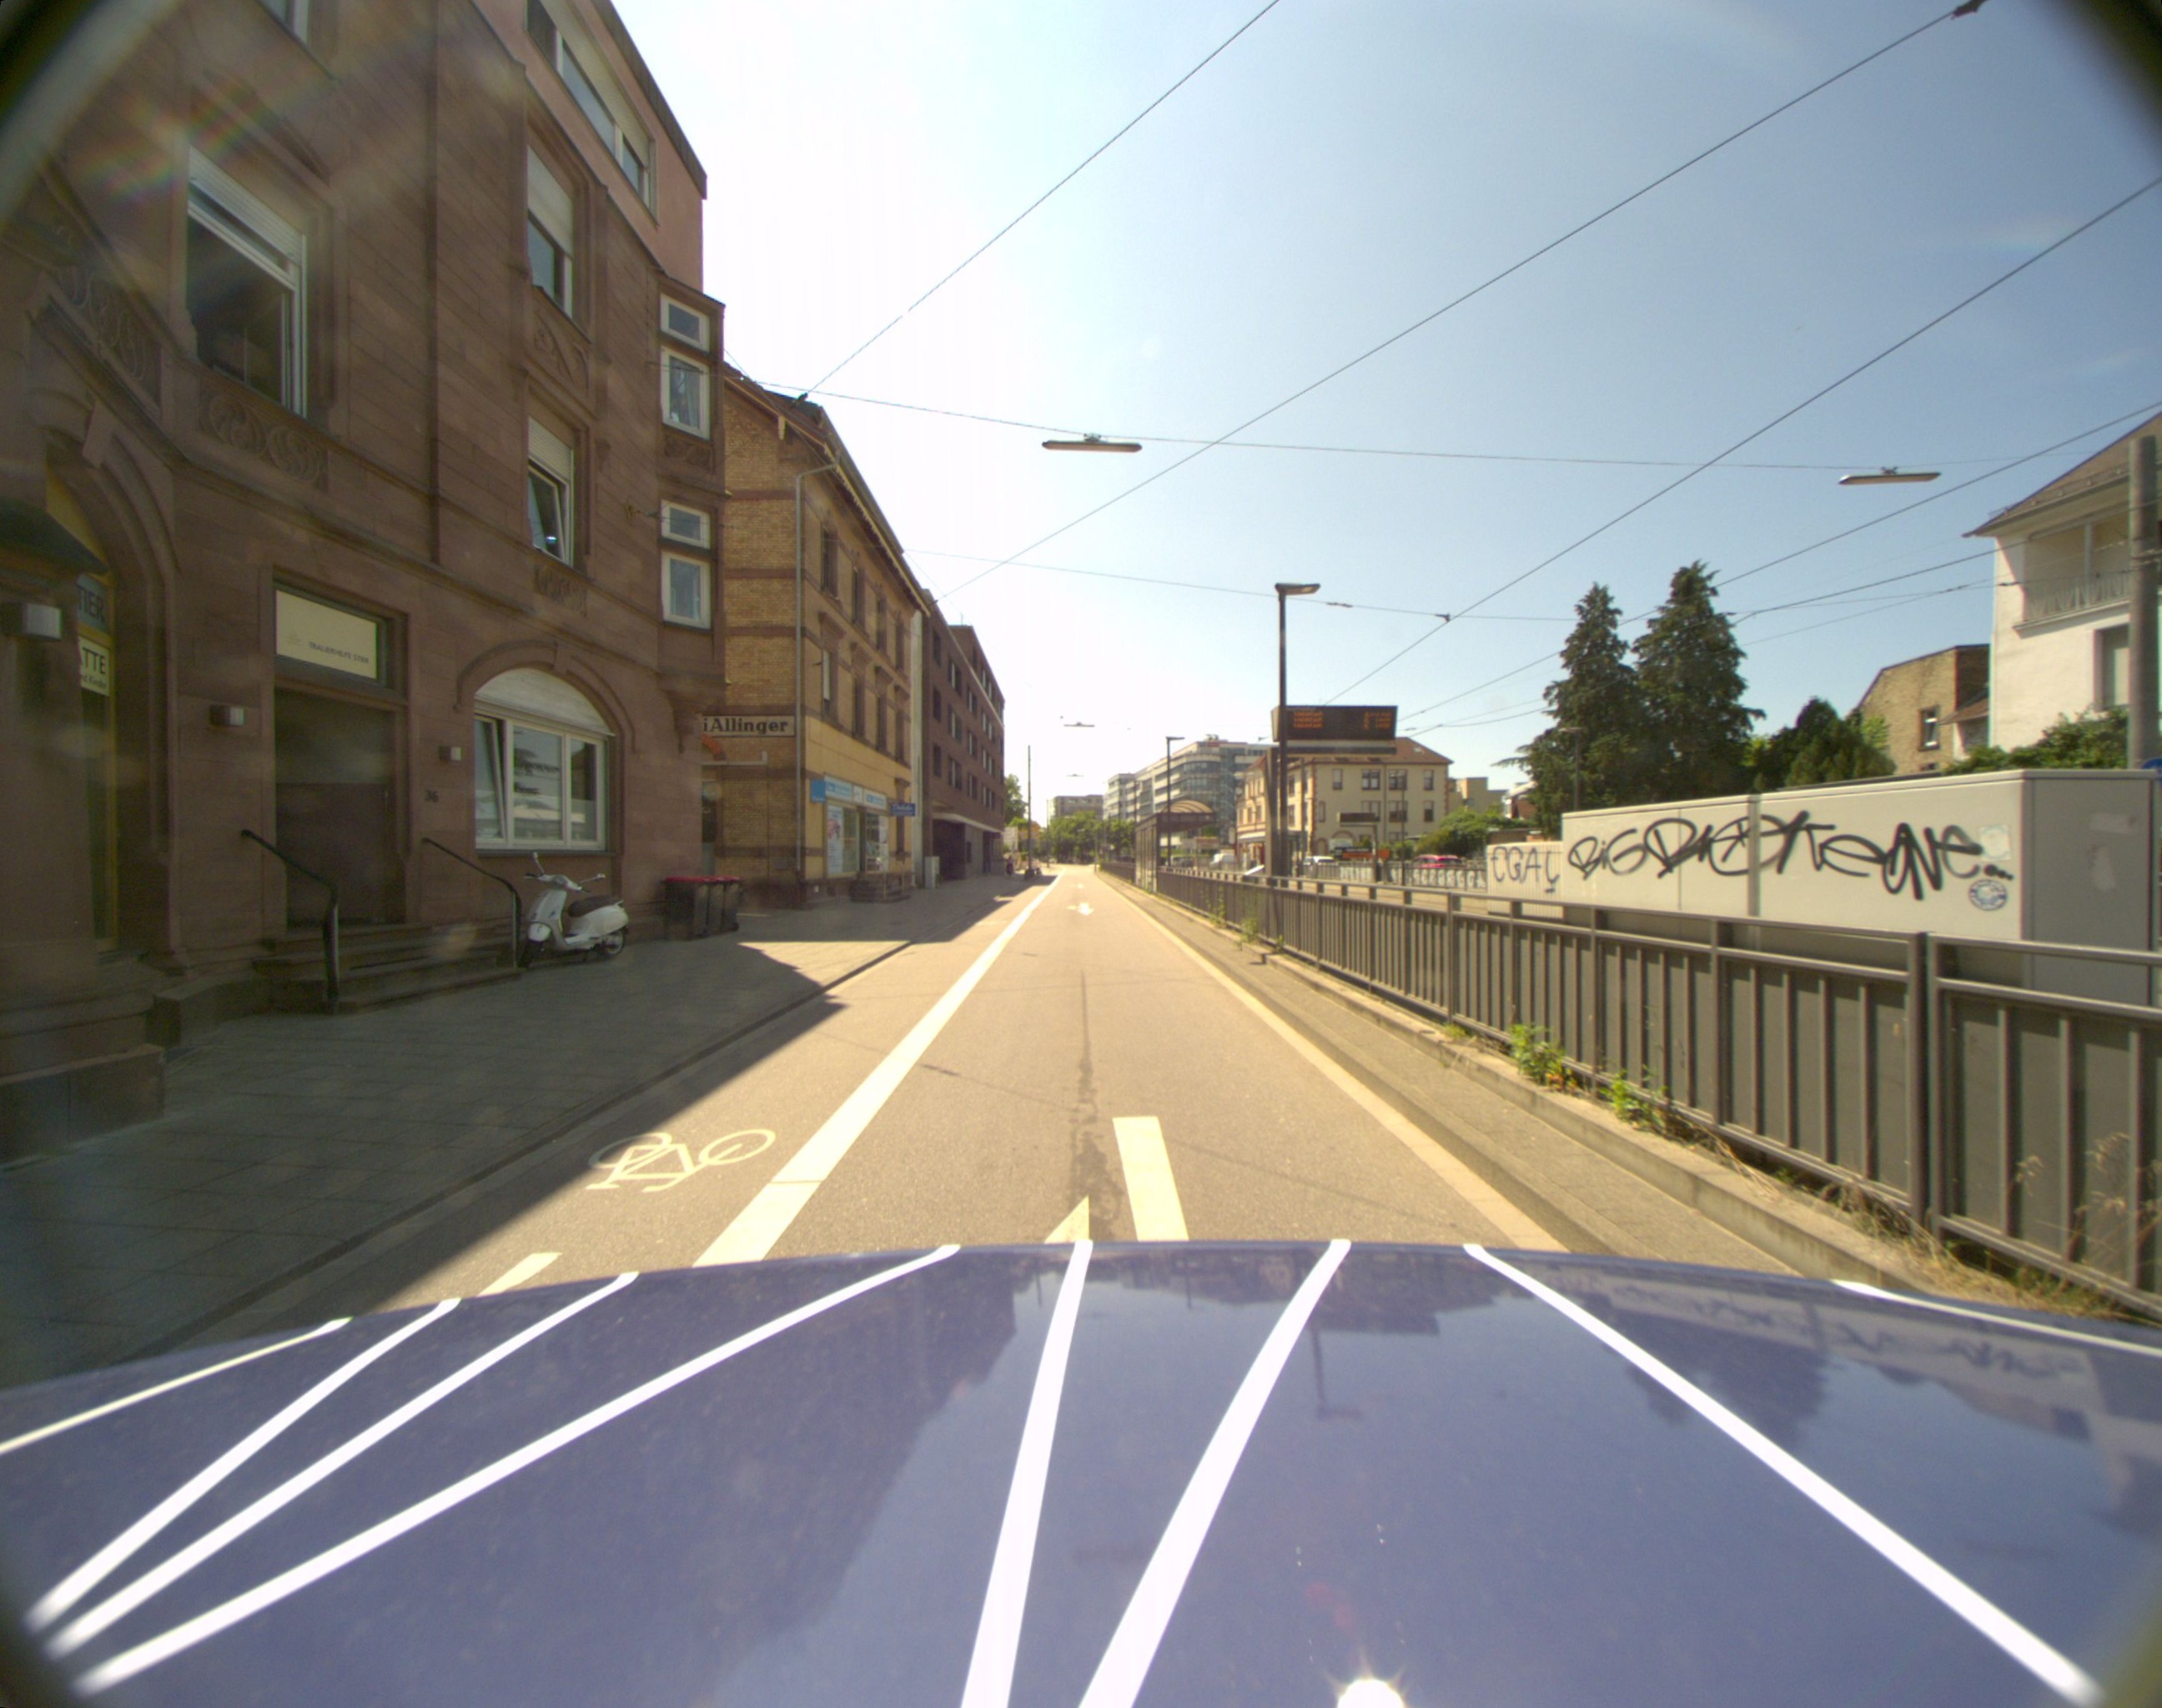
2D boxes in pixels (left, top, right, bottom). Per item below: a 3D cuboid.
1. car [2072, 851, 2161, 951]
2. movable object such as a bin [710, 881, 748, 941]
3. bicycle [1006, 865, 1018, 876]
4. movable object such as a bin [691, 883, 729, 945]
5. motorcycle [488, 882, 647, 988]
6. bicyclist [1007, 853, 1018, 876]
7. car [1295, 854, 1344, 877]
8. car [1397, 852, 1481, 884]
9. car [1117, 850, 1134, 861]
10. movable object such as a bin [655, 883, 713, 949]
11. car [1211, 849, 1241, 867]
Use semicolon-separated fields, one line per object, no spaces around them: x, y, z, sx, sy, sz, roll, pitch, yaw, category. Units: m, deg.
16.519;0.678;9.731;1.861;1.433;4.478;-1;0;1;car
-6.458;1.038;13.962;0.376;1.042;0.657;2;0;0;movable object such as a bin
-5.279;1.235;58.185;0.690;0.793;1.908;-1;0;1;bicycle
-6.518;1.048;13.370;0.376;1.042;0.559;2;1;0;movable object such as a bin
-6.433;0.962;9.655;0.527;1.142;1.881;0;0;8;motorcycle
-5.268;0.782;58.375;0.671;1.712;0.928;-1;0;2;bicyclist
15.968;0.748;51.093;1.822;1.459;4.623;1;0;0;car
16.364;0.597;34.968;1.822;1.387;4.175;1;0;0;car
7.360;0.288;125.264;2.000;1.827;3.996;-1;0;-10;car
-6.678;1.030;12.793;0.649;1.042;0.559;2;1;-1;movable object such as a bin
14.919;0.373;78.604;1.861;1.806;4.696;0;0;-4;car
